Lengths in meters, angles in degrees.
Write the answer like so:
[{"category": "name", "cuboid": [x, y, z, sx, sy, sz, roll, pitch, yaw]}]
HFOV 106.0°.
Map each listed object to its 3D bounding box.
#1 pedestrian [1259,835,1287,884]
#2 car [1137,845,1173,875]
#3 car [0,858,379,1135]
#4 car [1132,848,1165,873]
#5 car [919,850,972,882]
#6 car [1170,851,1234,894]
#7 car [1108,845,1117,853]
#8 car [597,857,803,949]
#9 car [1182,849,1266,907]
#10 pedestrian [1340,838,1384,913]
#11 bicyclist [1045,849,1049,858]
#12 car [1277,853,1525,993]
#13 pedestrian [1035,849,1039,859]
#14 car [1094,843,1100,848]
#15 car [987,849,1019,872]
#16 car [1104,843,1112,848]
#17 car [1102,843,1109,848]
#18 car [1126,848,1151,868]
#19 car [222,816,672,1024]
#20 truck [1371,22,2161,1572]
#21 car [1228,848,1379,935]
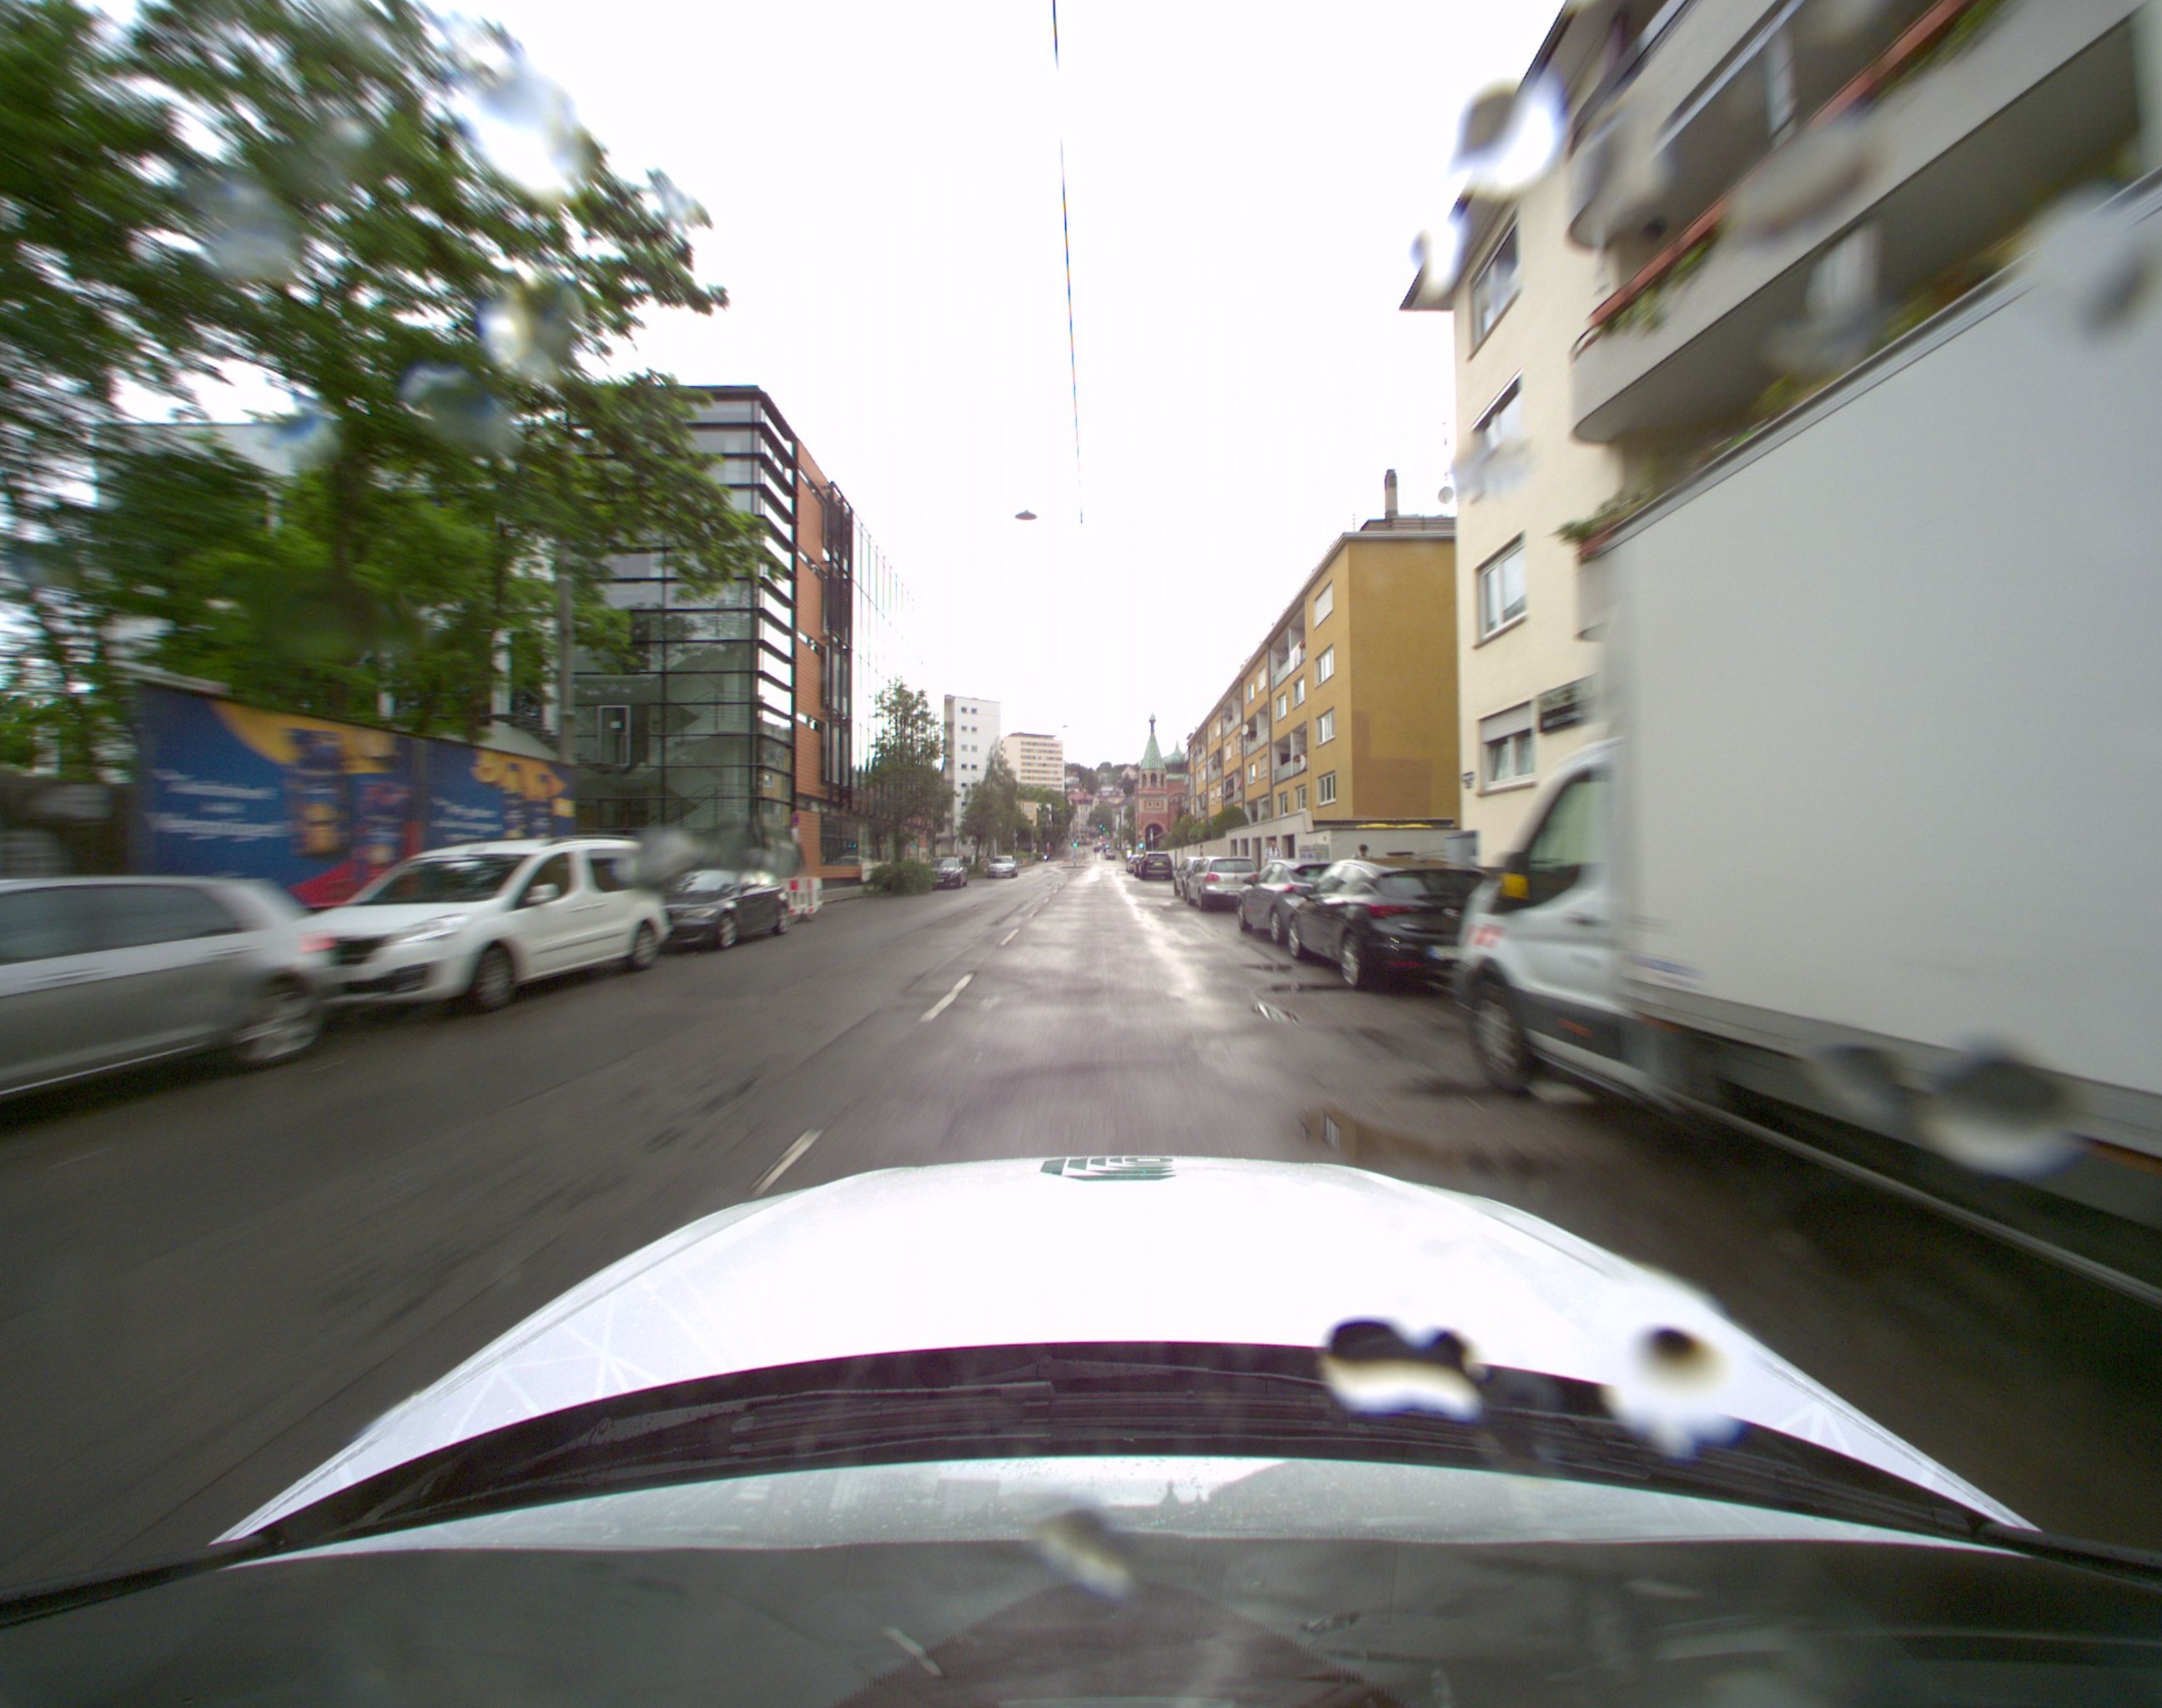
[{"category": "pedestrian", "cuboid": [7.051, 0.187, 29.834, 0.758, 1.732, 0.748, -2, 2, 29]}, {"category": "car", "cuboid": [4.354, 0.317, 48.589, 1.811, 1.652, 4.076, 1, 0, 1]}, {"category": "car", "cuboid": [-6.599, 0.776, 4.522, 1.677, 1.462, 4.276, -1, 0, 0]}, {"category": "car", "cuboid": [4.375, 0.369, 53.309, 1.811, 1.522, 4.076, 1, 0, 1]}, {"category": "car", "cuboid": [-6.385, 0.546, 38.874, 1.798, 1.450, 4.655, -1, 0, -1]}, {"category": "car", "cuboid": [4.161, 0.614, 28.543, 1.658, 1.399, 3.920, 0, 0, 0]}, {"category": "car", "cuboid": [7.076, -1.154, 183.333, 1.724, 1.653, 4.004, -1, 1, 4]}, {"category": "car", "cuboid": [-6.551, 0.753, 14.608, 1.719, 1.375, 4.341, -1, 0, -2]}, {"category": "car", "cuboid": [3.946, 0.614, 23.037, 1.658, 1.502, 3.920, 0, 0, 0]}, {"category": "pedestrian", "cuboid": [6.286, 0.477, 18.254, 0.661, 1.603, 0.745, -4, 0, 5]}, {"category": "bicyclist", "cuboid": [-5.846, -0.107, 140.187, 0.675, 1.661, 0.649, 0, -1, -2]}, {"category": "car", "cuboid": [3.787, 0.710, 10.424, 1.657, 1.421, 4.043, 0, 0, 1]}, {"category": "pedestrian", "cuboid": [-8.843, -0.022, 163.761, 0.886, 1.893, 0.921, 0, 0, -5]}, {"category": "car", "cuboid": [4.722, -2.442, 240.856, 1.902, 1.510, 4.000, 1, 0, 1]}, {"category": "car", "cuboid": [-5.163, 0.446, 54.233, 1.704, 1.450, 4.293, -1, 0, 0]}, {"category": "car", "cuboid": [7.230, -2.270, 219.909, 1.886, 1.510, 4.000, 2, 0, 1]}, {"category": "car", "cuboid": [7.054, -2.415, 236.218, 1.902, 1.510, 4.000, 2, 0, 1]}, {"category": "car", "cuboid": [4.625, 0.330, 65.976, 1.811, 1.522, 4.076, 2, 0, 1]}, {"category": "car", "cuboid": [-6.674, 0.586, 9.342, 1.718, 1.800, 4.344, -1, 0, 0]}, {"category": "truck", "cuboid": [3.477, -0.119, 3.021, 2.460, 3.172, 7.038, 0, 0, 1]}, {"category": "car", "cuboid": [4.009, 0.643, 15.326, 1.659, 1.421, 3.917, 0, -1, -2]}]
